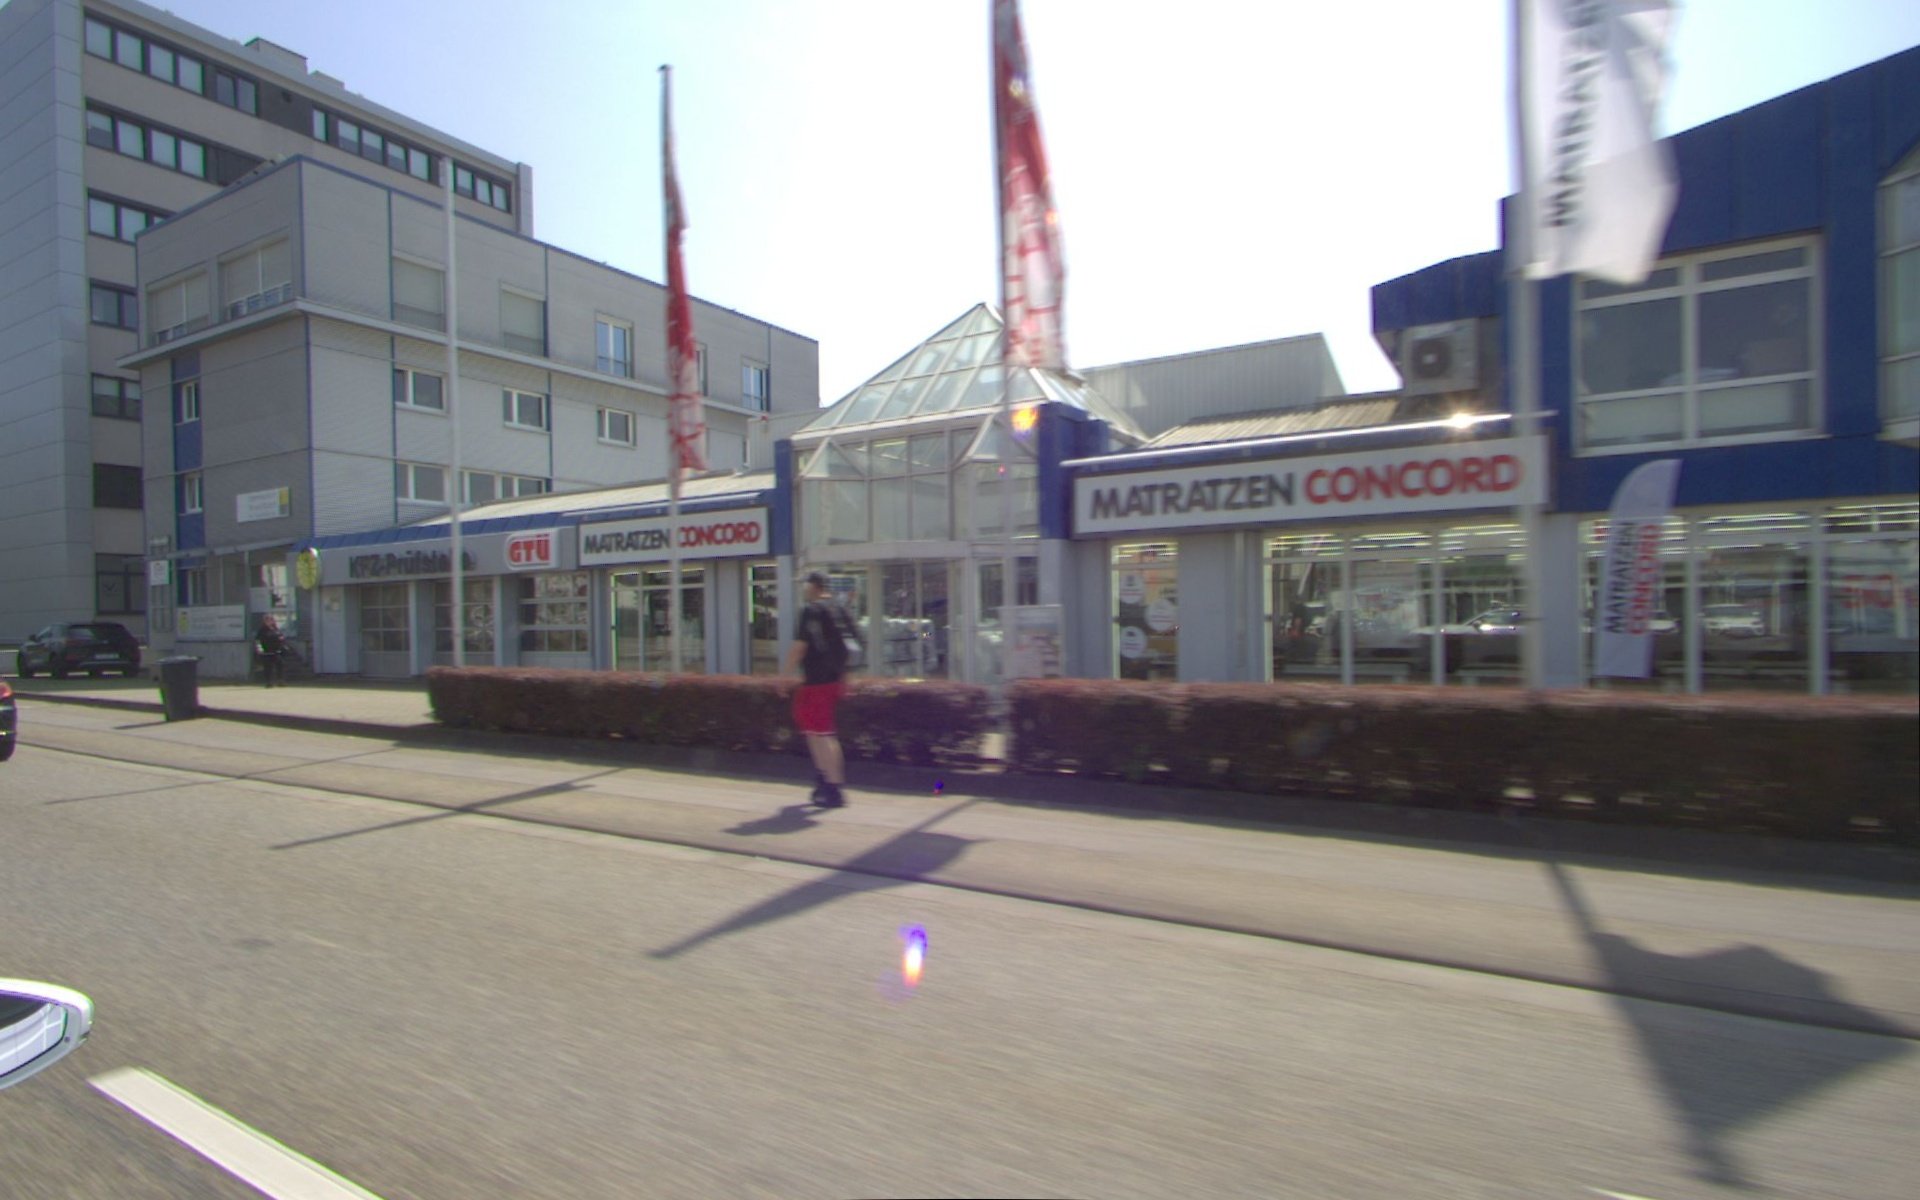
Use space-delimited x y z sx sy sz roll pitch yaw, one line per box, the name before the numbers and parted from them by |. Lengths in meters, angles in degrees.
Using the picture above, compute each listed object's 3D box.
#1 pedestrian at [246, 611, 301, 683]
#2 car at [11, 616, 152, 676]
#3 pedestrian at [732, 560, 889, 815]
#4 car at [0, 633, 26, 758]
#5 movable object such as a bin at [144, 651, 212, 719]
pedestrian | -16.212 1.100 23.654 0.841 1.648 0.808 -1 1 34
car | -24.604 1.261 28.013 4.136 1.551 1.841 -1 -2 32
pedestrian | -1.177 0.648 7.910 0.923 1.871 0.783 0 1 34
car | -12.465 1.074 11.563 3.554 1.381 1.624 -1 -1 32
movable object such as a bin | -11.593 1.247 14.851 0.643 0.932 0.549 -1 3 32
